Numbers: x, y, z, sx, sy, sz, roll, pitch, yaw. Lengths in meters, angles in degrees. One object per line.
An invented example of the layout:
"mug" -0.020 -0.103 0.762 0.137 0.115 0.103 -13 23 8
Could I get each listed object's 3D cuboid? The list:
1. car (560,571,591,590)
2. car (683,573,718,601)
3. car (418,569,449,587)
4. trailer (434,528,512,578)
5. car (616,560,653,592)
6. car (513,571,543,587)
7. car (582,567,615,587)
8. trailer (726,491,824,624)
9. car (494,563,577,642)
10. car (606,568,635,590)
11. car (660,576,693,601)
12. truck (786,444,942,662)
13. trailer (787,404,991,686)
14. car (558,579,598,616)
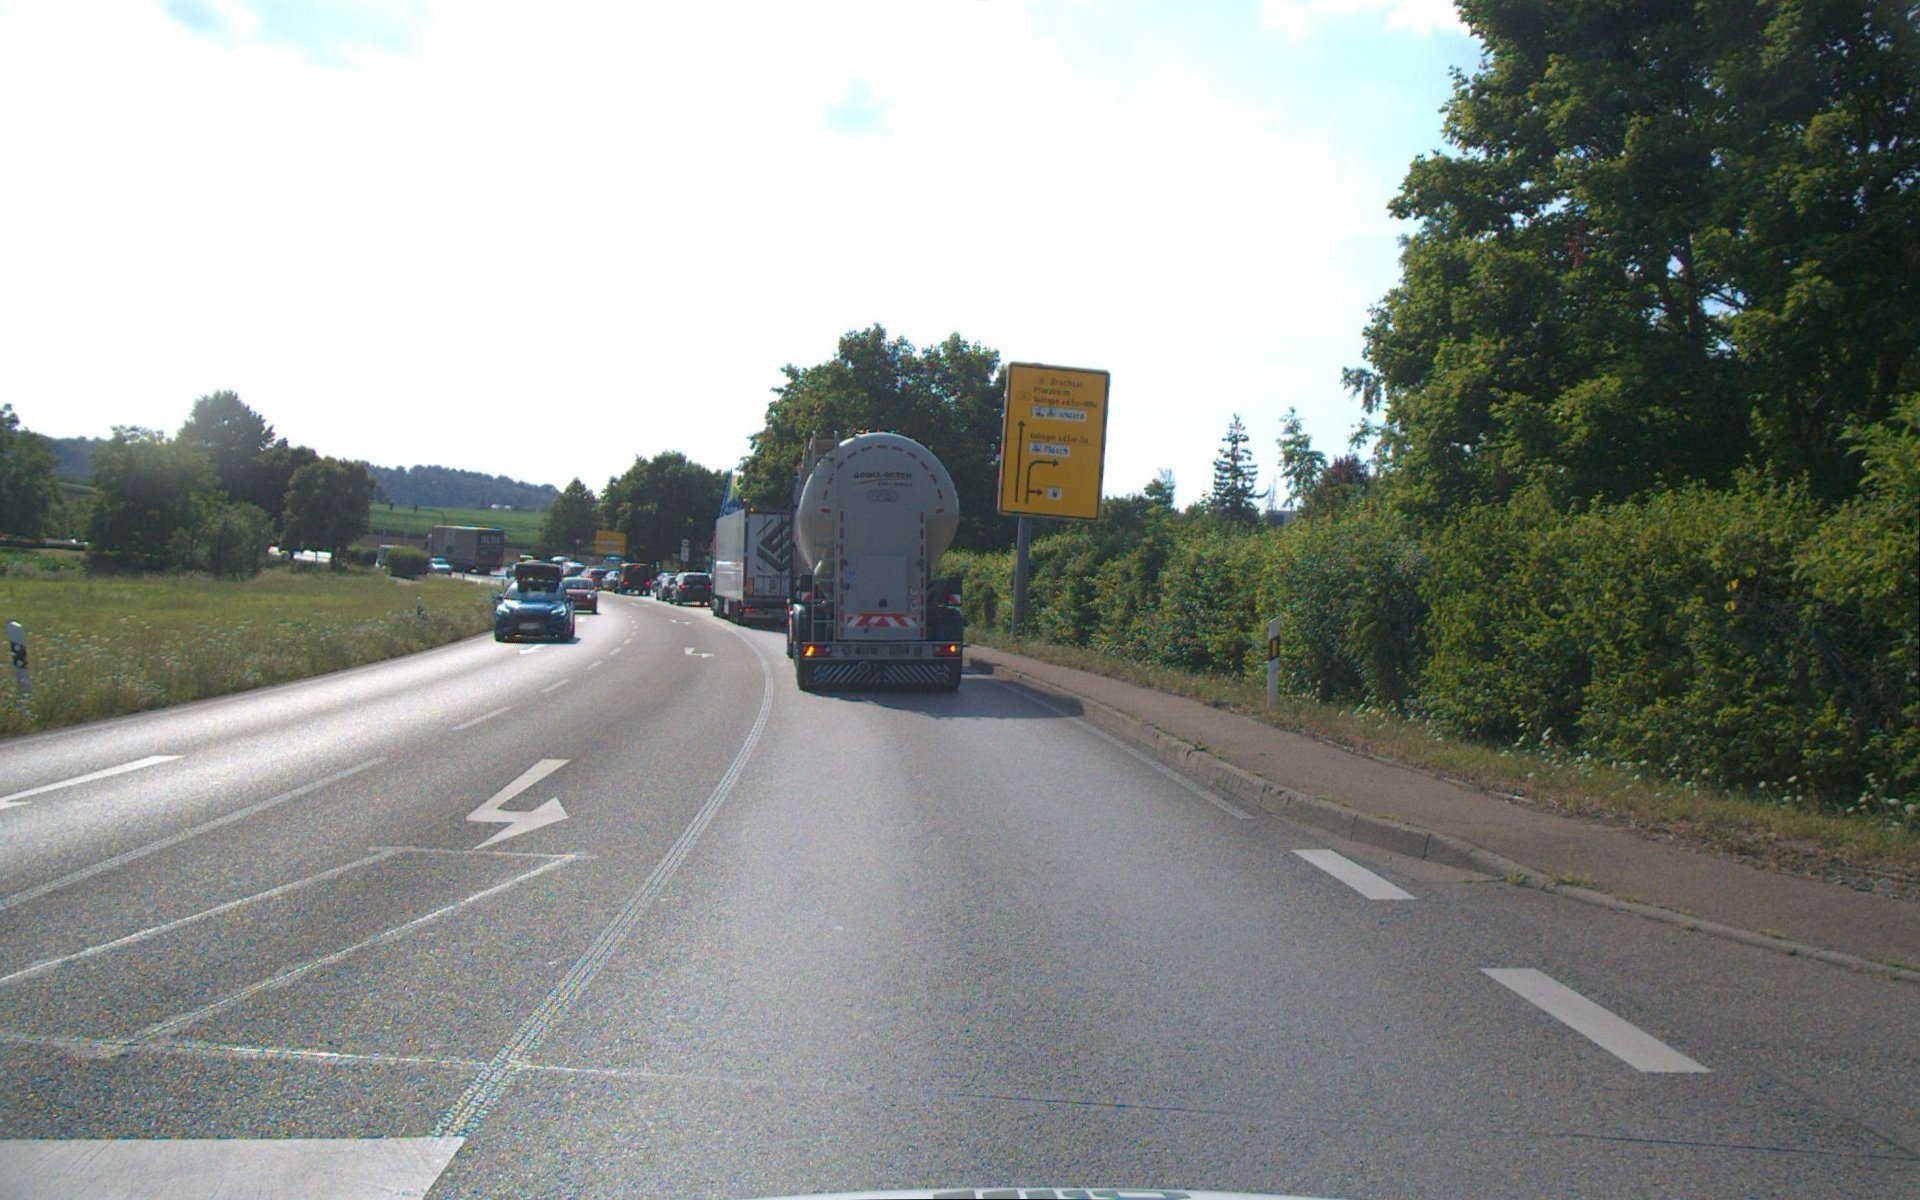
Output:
"car" -29.865 -1.494 128.478 1.561 1.364 3.396 2 1 -27
"car" -13.699 -0.699 87.112 1.553 1.364 3.415 2 1 -13
"car" -44.733 -1.843 140.531 1.688 1.453 4.138 1 0 -29
"trailer" -46.587 -4.475 157.733 3.343 4.426 14.137 2 1 -32
"car" -21.478 -1.621 108.978 1.834 2.049 3.698 1 1 -20
"car" -37.051 -1.796 141.837 1.748 1.227 3.396 2 1 -27
"car" -26.836 -1.698 122.614 1.561 1.364 3.396 2 1 -27
"trailer" -7.238 -1.529 63.002 2.900 4.390 14.146 2 1 -9
"car" -10.784 0.028 42.220 1.693 1.915 4.325 0 1 -10
"car" -23.860 -1.457 116.266 1.395 1.458 3.125 0 -1 -23
"car" -16.322 -0.676 95.228 1.554 1.364 3.412 2 1 -15
"truck" -2.027 -0.894 33.339 2.854 4.076 4.054 1 0 -7
"trailer" -1.542 -0.847 29.120 2.854 4.076 9.916 1 1 -6
"car" -16.112 -0.127 69.926 1.557 1.492 3.596 0 1 -12
